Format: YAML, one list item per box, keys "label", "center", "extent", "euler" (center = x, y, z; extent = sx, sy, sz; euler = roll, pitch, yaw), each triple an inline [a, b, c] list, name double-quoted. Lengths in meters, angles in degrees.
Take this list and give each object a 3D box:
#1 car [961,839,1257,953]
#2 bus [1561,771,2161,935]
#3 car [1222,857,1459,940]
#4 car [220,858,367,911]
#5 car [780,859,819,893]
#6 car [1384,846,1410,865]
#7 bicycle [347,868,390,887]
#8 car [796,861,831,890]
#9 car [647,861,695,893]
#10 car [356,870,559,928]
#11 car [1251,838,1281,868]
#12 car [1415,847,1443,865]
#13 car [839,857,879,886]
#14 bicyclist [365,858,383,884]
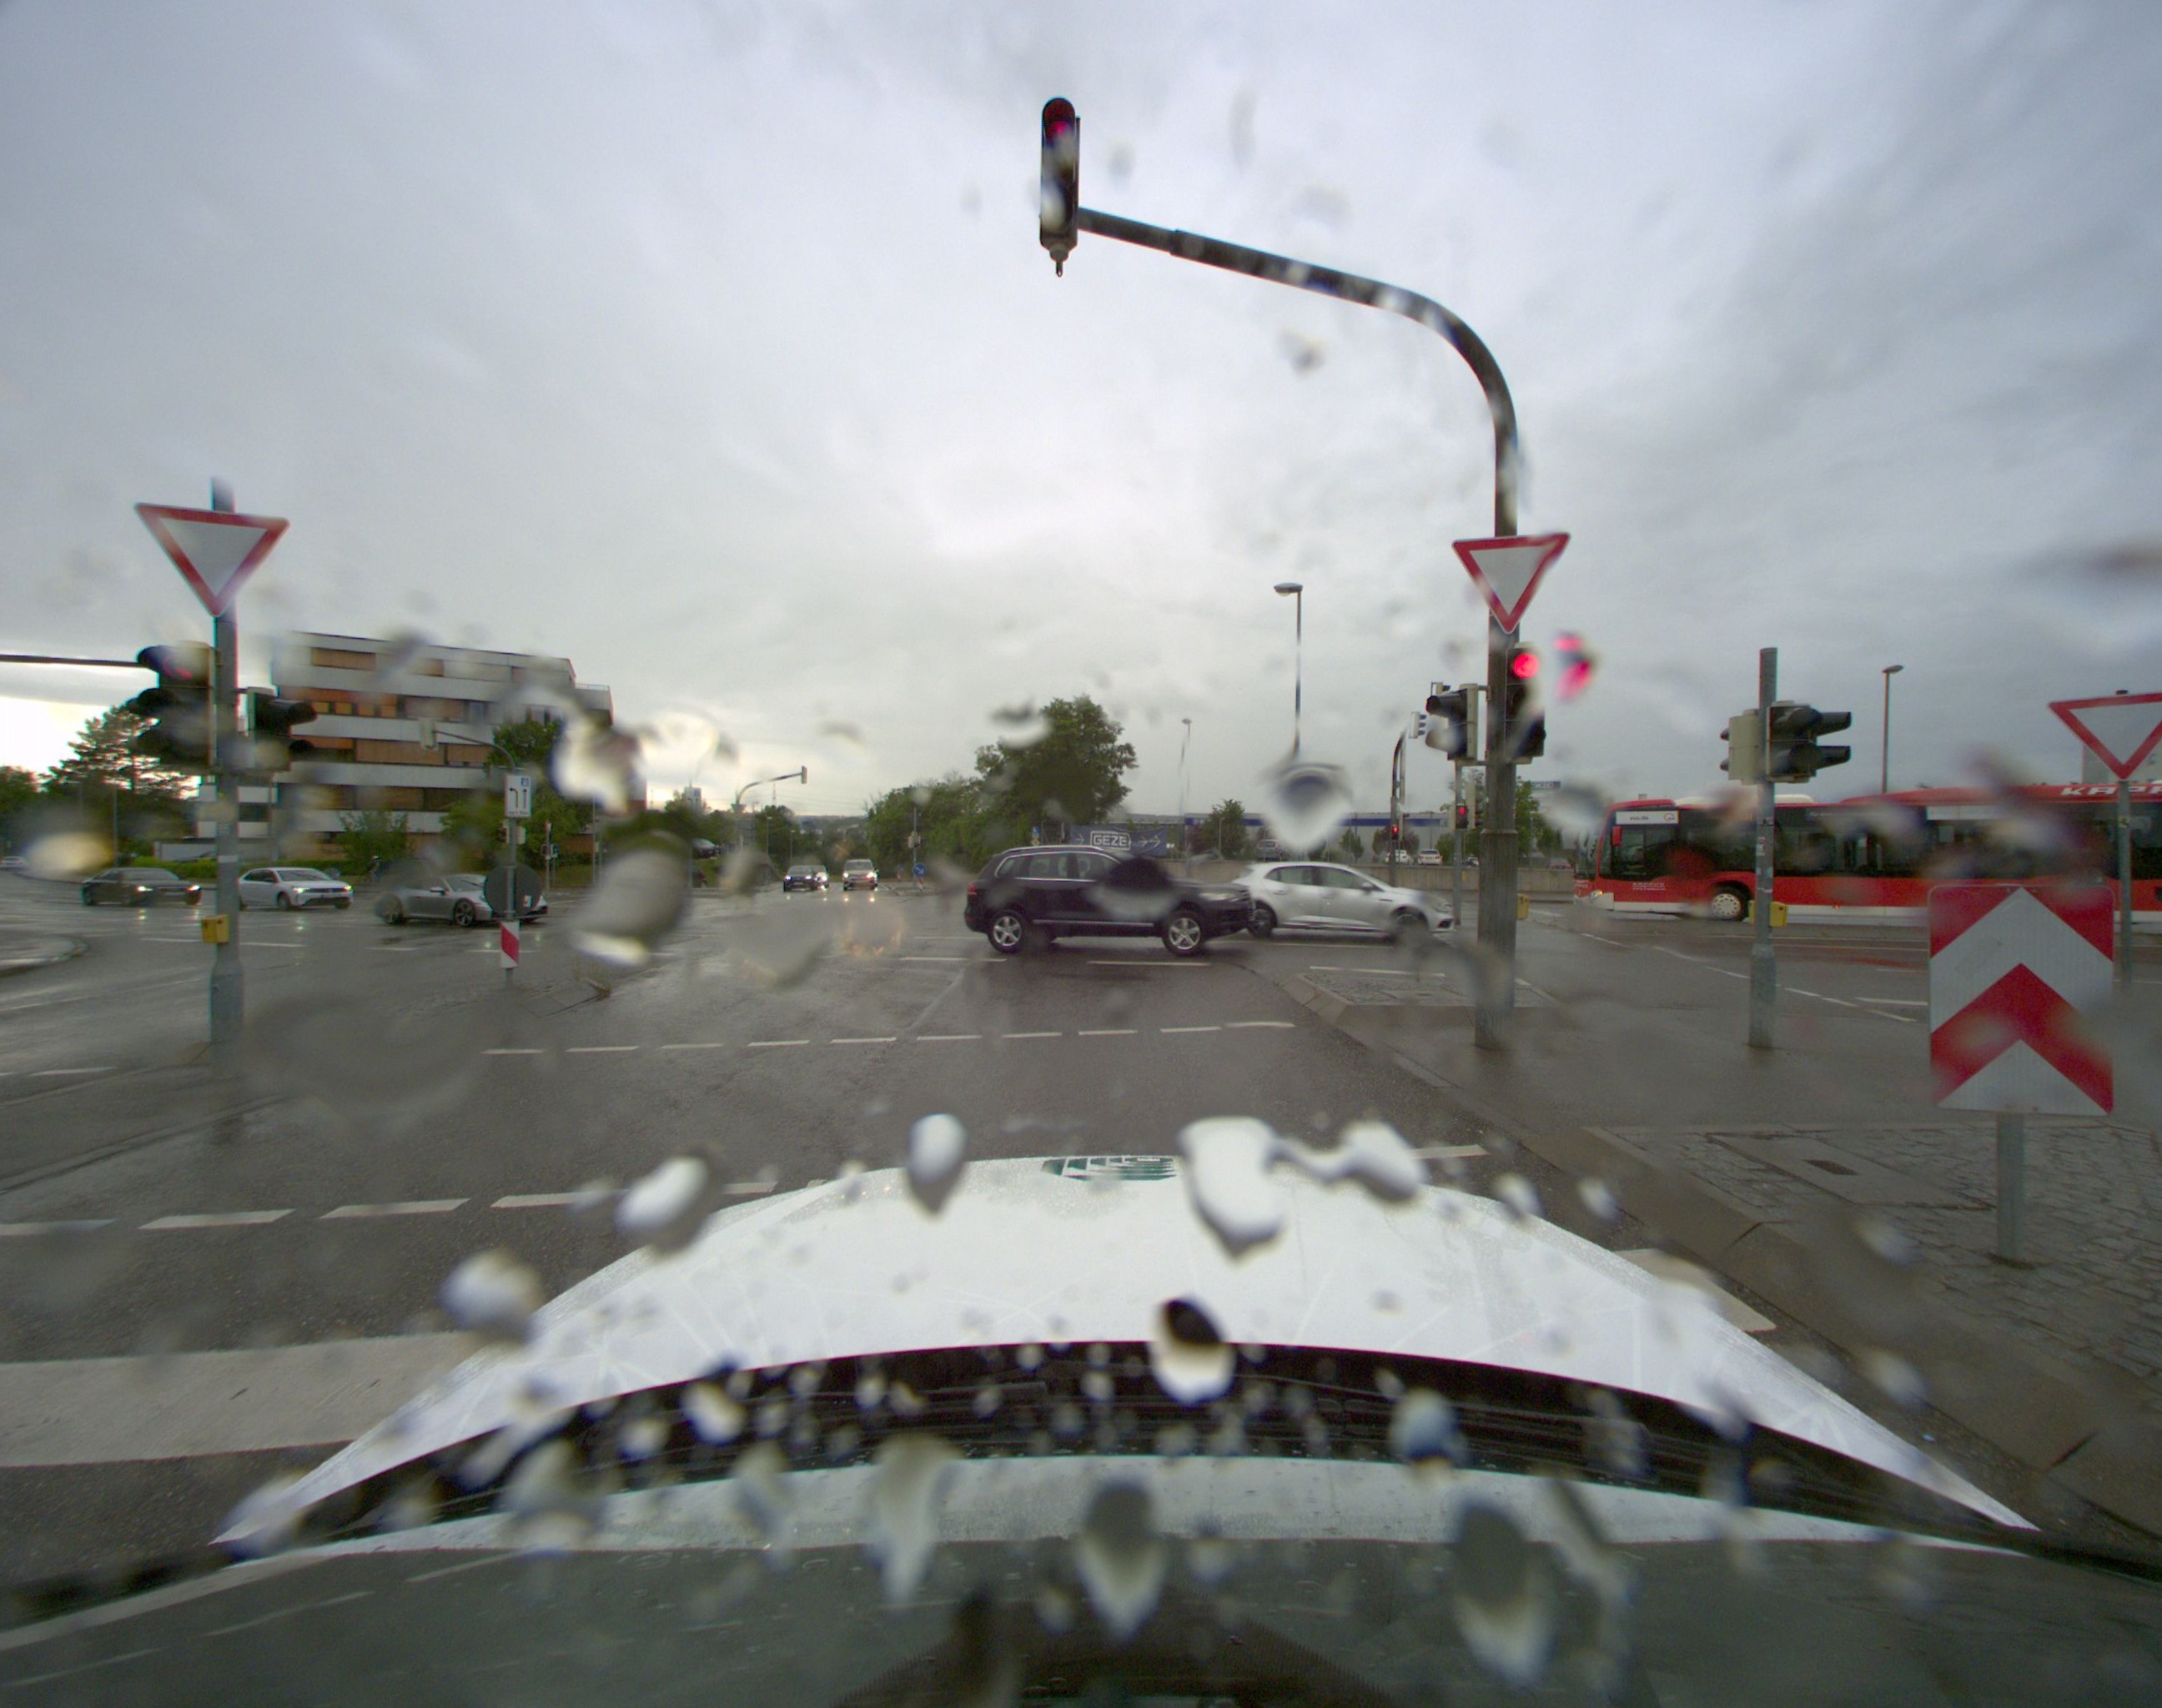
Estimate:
- label: "car"
  center: [0.536, 0.658, 13.670]
  extent: [4.561, 1.702, 2.009]
  euler: [-1, 0, 16]
- label: "bus"
  center: [18.631, -0.107, 19.222]
  extent: [12.177, 3.321, 3.090]
  euler: [1, 0, 19]
- label: "car"
  center: [4.920, 0.787, 15.743]
  extent: [4.107, 1.416, 1.936]
  euler: [0, 0, 16]
- label: "car"
  center: [-26.851, 0.982, 27.794]
  extent: [3.954, 1.684, 2.010]
  euler: [0, 0, 19]
- label: "car"
  center: [-16.825, 1.258, 48.830]
  extent: [1.998, 1.895, 3.978]
  euler: [0, 0, -16]
- label: "car"
  center: [26.375, 0.121, 67.860]
  extent: [1.976, 1.478, 4.021]
  euler: [0, 0, 22]
- label: "bicycle"
  center: [-41.027, 1.342, 46.891]
  extent: [1.776, 1.052, 0.607]
  euler: [0, 0, -14]
- label: "car"
  center: [-18.310, 1.429, 55.966]
  extent: [1.997, 1.895, 3.981]
  euler: [0, 0, -14]
- label: "car"
  center: [-26.339, 1.429, 52.479]
  extent: [1.997, 1.895, 3.979]
  euler: [0, 0, -15]
- label: "car"
  center: [-16.353, 1.136, 21.415]
  extent: [4.400, 1.358, 1.864]
  euler: [0, 0, 14]
- label: "car"
  center: [13.090, -0.057, 57.558]
  extent: [1.979, 2.013, 4.015]
  euler: [0, 0, 13]
- label: "car"
  center: [28.681, 0.131, 67.181]
  extent: [1.976, 1.478, 4.021]
  euler: [0, 0, 21]
- label: "car"
  center: [-13.050, 0.991, 48.098]
  extent: [1.995, 1.618, 3.985]
  euler: [0, 0, -11]
- label: "bicyclist"
  center: [-40.768, 0.967, 46.956]
  extent: [0.544, 1.446, 0.600]
  euler: [-1, 0, -13]
